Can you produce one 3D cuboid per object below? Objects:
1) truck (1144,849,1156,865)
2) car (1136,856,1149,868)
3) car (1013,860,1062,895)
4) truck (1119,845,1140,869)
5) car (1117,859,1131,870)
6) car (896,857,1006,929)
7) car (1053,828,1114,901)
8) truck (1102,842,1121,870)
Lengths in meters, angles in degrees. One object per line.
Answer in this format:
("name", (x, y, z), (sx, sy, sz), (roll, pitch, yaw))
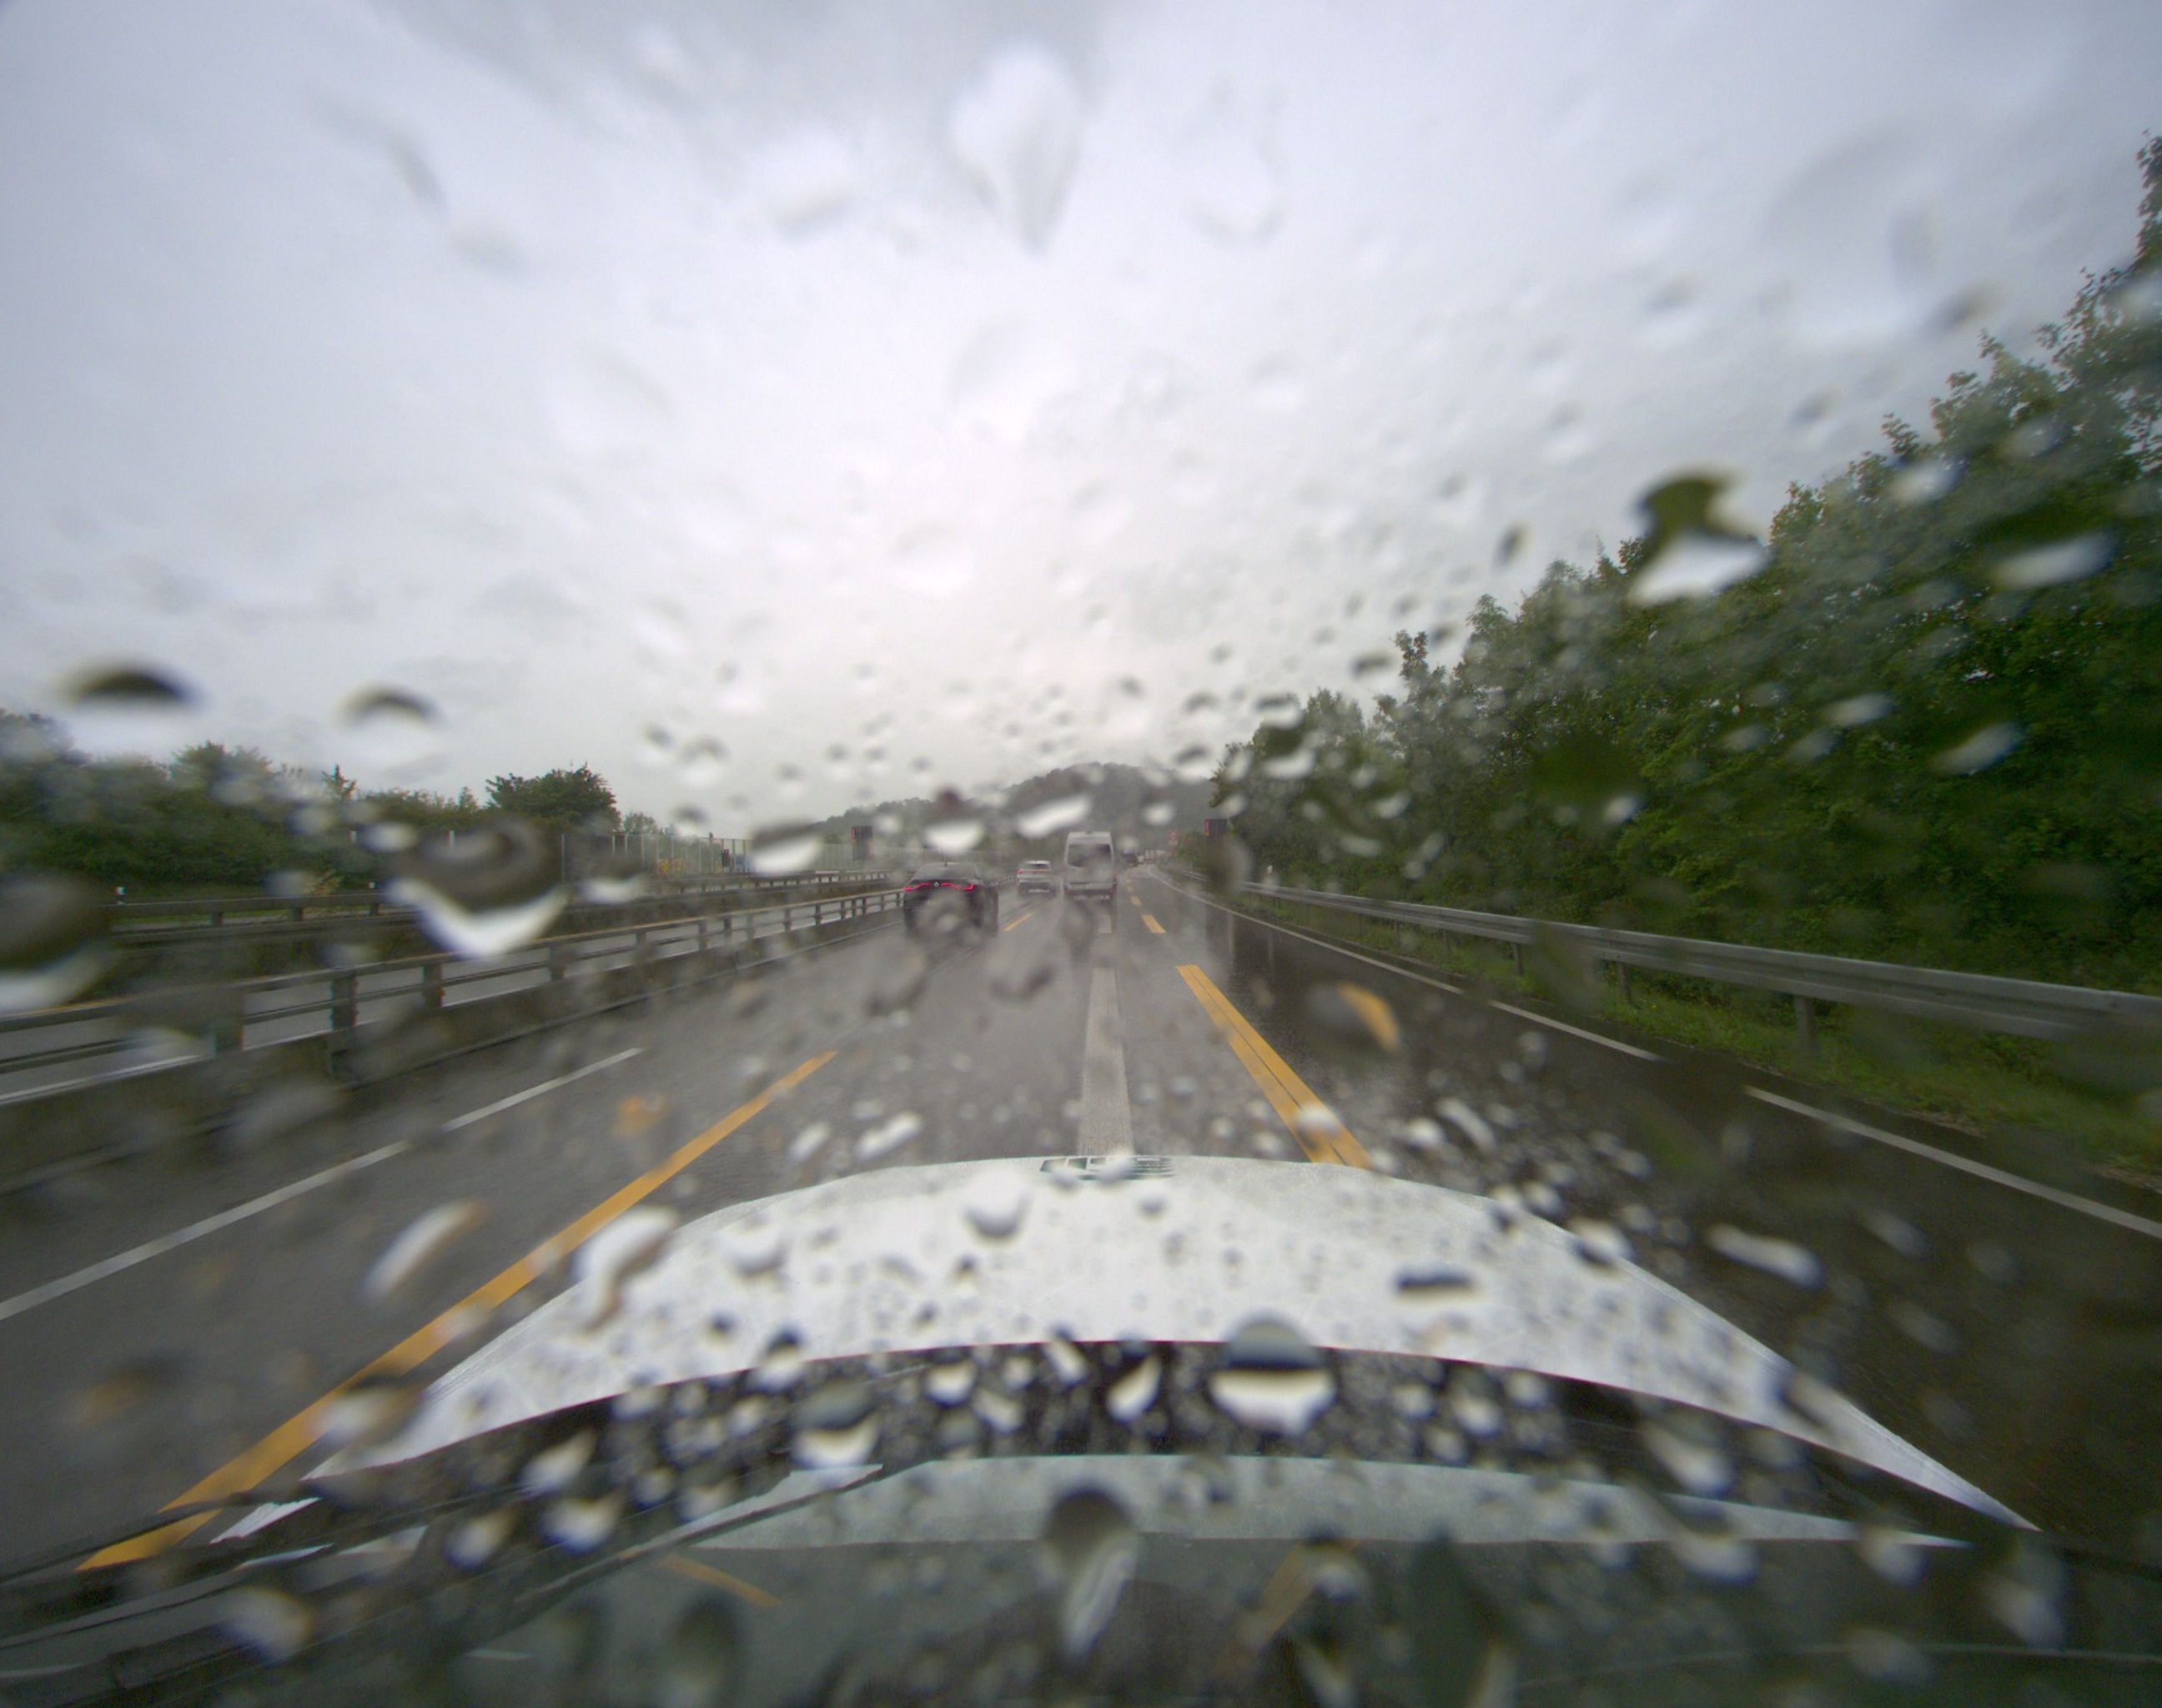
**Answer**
("truck", (19.667, 0.912, 232.330), (3.020, 4.406, 9.642), (0, -1, 7))
("car", (15.073, 2.048, 199.115), (2.882, 2.888, 6.425), (0, -1, 8))
("car", (-2.061, 1.125, 40.134), (1.986, 1.617, 4.798), (0, -1, 2))
("truck", (9.218, 0.609, 152.707), (3.564, 4.406, 9.638), (0, -1, 6))
("car", (5.944, 1.449, 112.618), (1.765, 1.475, 4.005), (0, -1, 5))
("car", (-3.099, 0.903, 20.353), (1.987, 1.585, 4.413), (0, -1, 1))
("car", (0.201, 0.404, 31.460), (2.136, 2.571, 5.392), (0, -1, 2))
("truck", (3.533, 0.307, 93.157), (1.985, 3.109, 8.504), (0, -1, 3))
